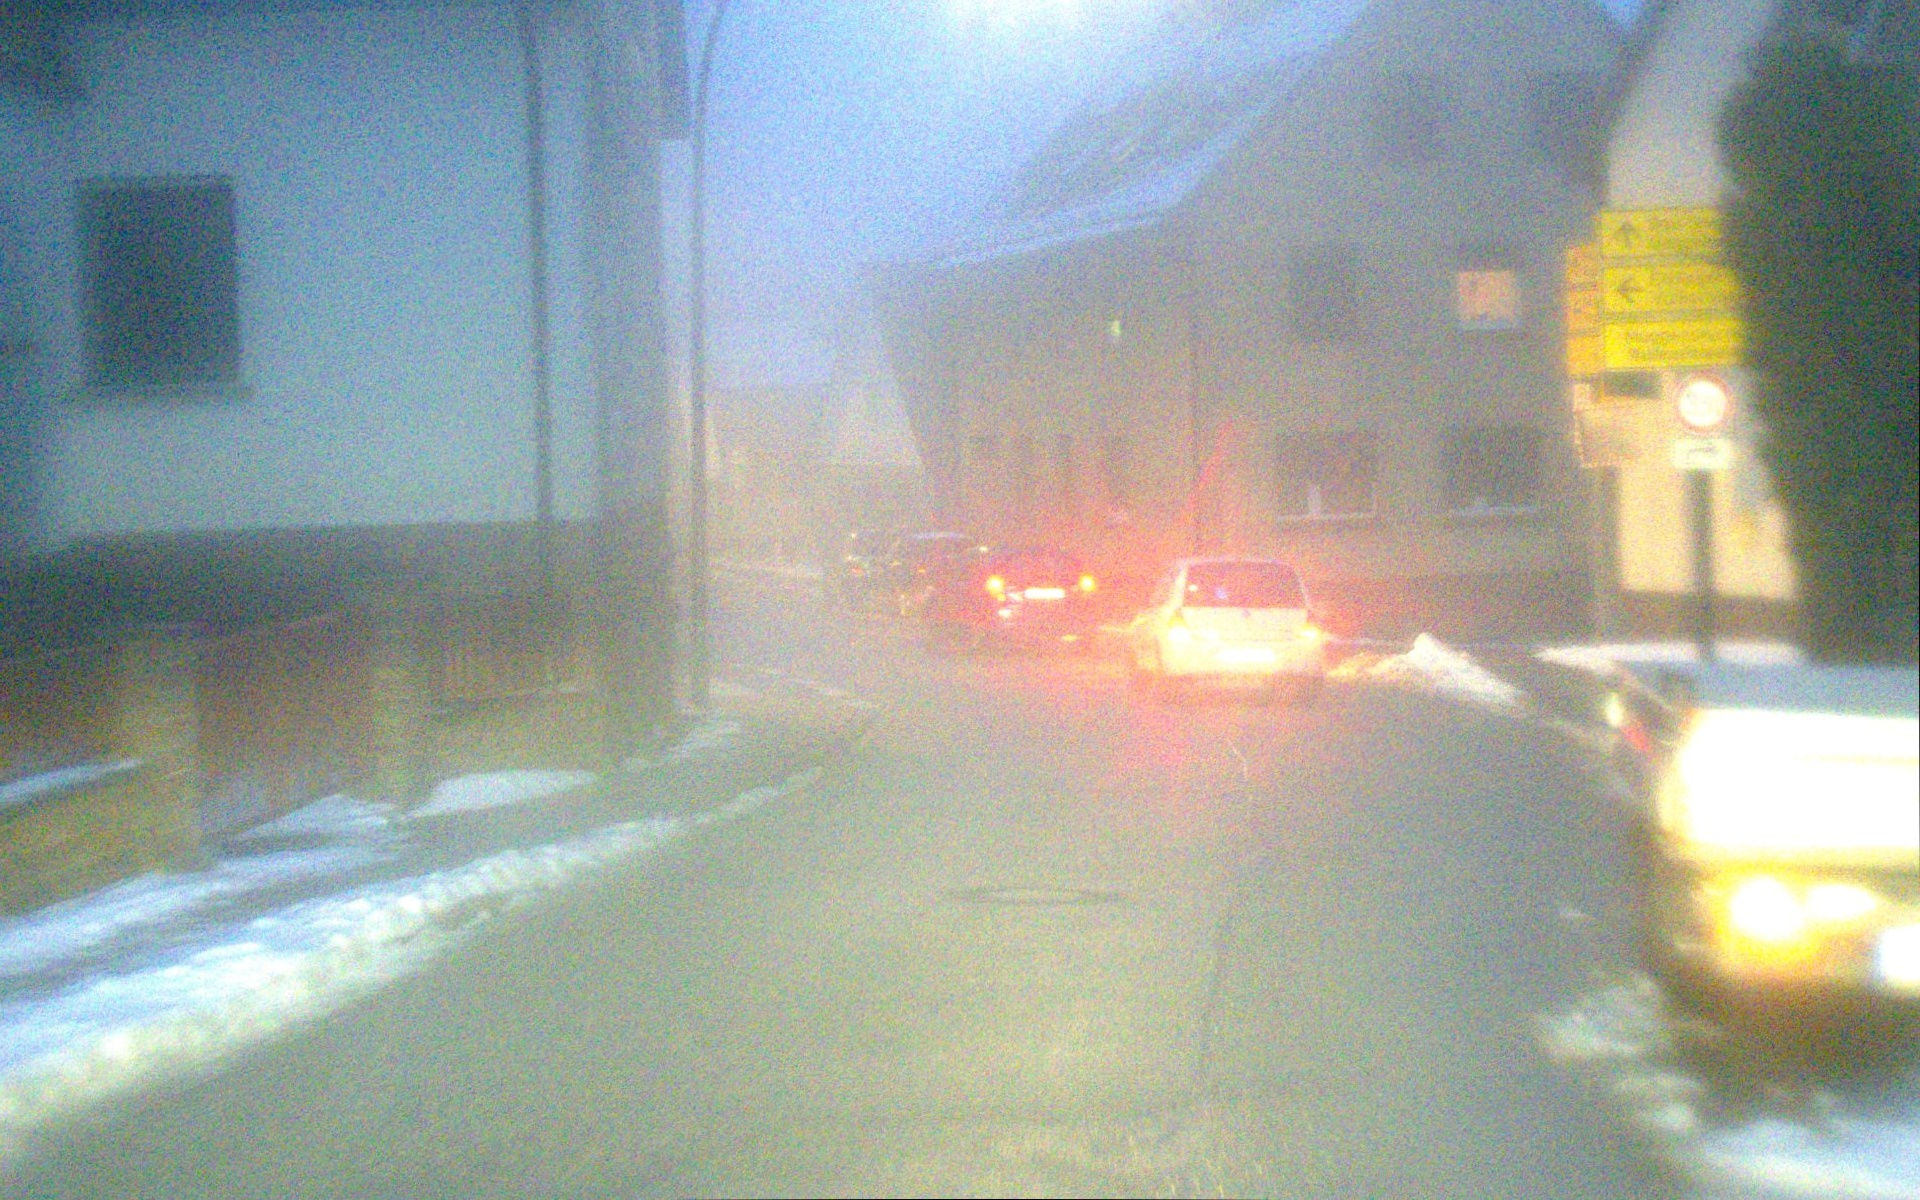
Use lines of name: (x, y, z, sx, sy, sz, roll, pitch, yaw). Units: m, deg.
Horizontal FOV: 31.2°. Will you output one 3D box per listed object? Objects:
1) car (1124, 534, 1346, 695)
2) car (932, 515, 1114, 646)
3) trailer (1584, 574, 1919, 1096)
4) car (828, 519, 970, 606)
car: (2.693, 0.141, 34.486, 1.993, 1.503, 4.000, 1, 0, 1)
car: (0.826, -0.255, 47.699, 1.993, 1.722, 4.001, 1, 0, -7)
trailer: (3.220, 0.641, 11.827, 1.994, 1.383, 4.730, 1, 1, 9)
car: (-1.152, -0.701, 62.229, 1.910, 1.476, 4.283, -2, 1, -10)
